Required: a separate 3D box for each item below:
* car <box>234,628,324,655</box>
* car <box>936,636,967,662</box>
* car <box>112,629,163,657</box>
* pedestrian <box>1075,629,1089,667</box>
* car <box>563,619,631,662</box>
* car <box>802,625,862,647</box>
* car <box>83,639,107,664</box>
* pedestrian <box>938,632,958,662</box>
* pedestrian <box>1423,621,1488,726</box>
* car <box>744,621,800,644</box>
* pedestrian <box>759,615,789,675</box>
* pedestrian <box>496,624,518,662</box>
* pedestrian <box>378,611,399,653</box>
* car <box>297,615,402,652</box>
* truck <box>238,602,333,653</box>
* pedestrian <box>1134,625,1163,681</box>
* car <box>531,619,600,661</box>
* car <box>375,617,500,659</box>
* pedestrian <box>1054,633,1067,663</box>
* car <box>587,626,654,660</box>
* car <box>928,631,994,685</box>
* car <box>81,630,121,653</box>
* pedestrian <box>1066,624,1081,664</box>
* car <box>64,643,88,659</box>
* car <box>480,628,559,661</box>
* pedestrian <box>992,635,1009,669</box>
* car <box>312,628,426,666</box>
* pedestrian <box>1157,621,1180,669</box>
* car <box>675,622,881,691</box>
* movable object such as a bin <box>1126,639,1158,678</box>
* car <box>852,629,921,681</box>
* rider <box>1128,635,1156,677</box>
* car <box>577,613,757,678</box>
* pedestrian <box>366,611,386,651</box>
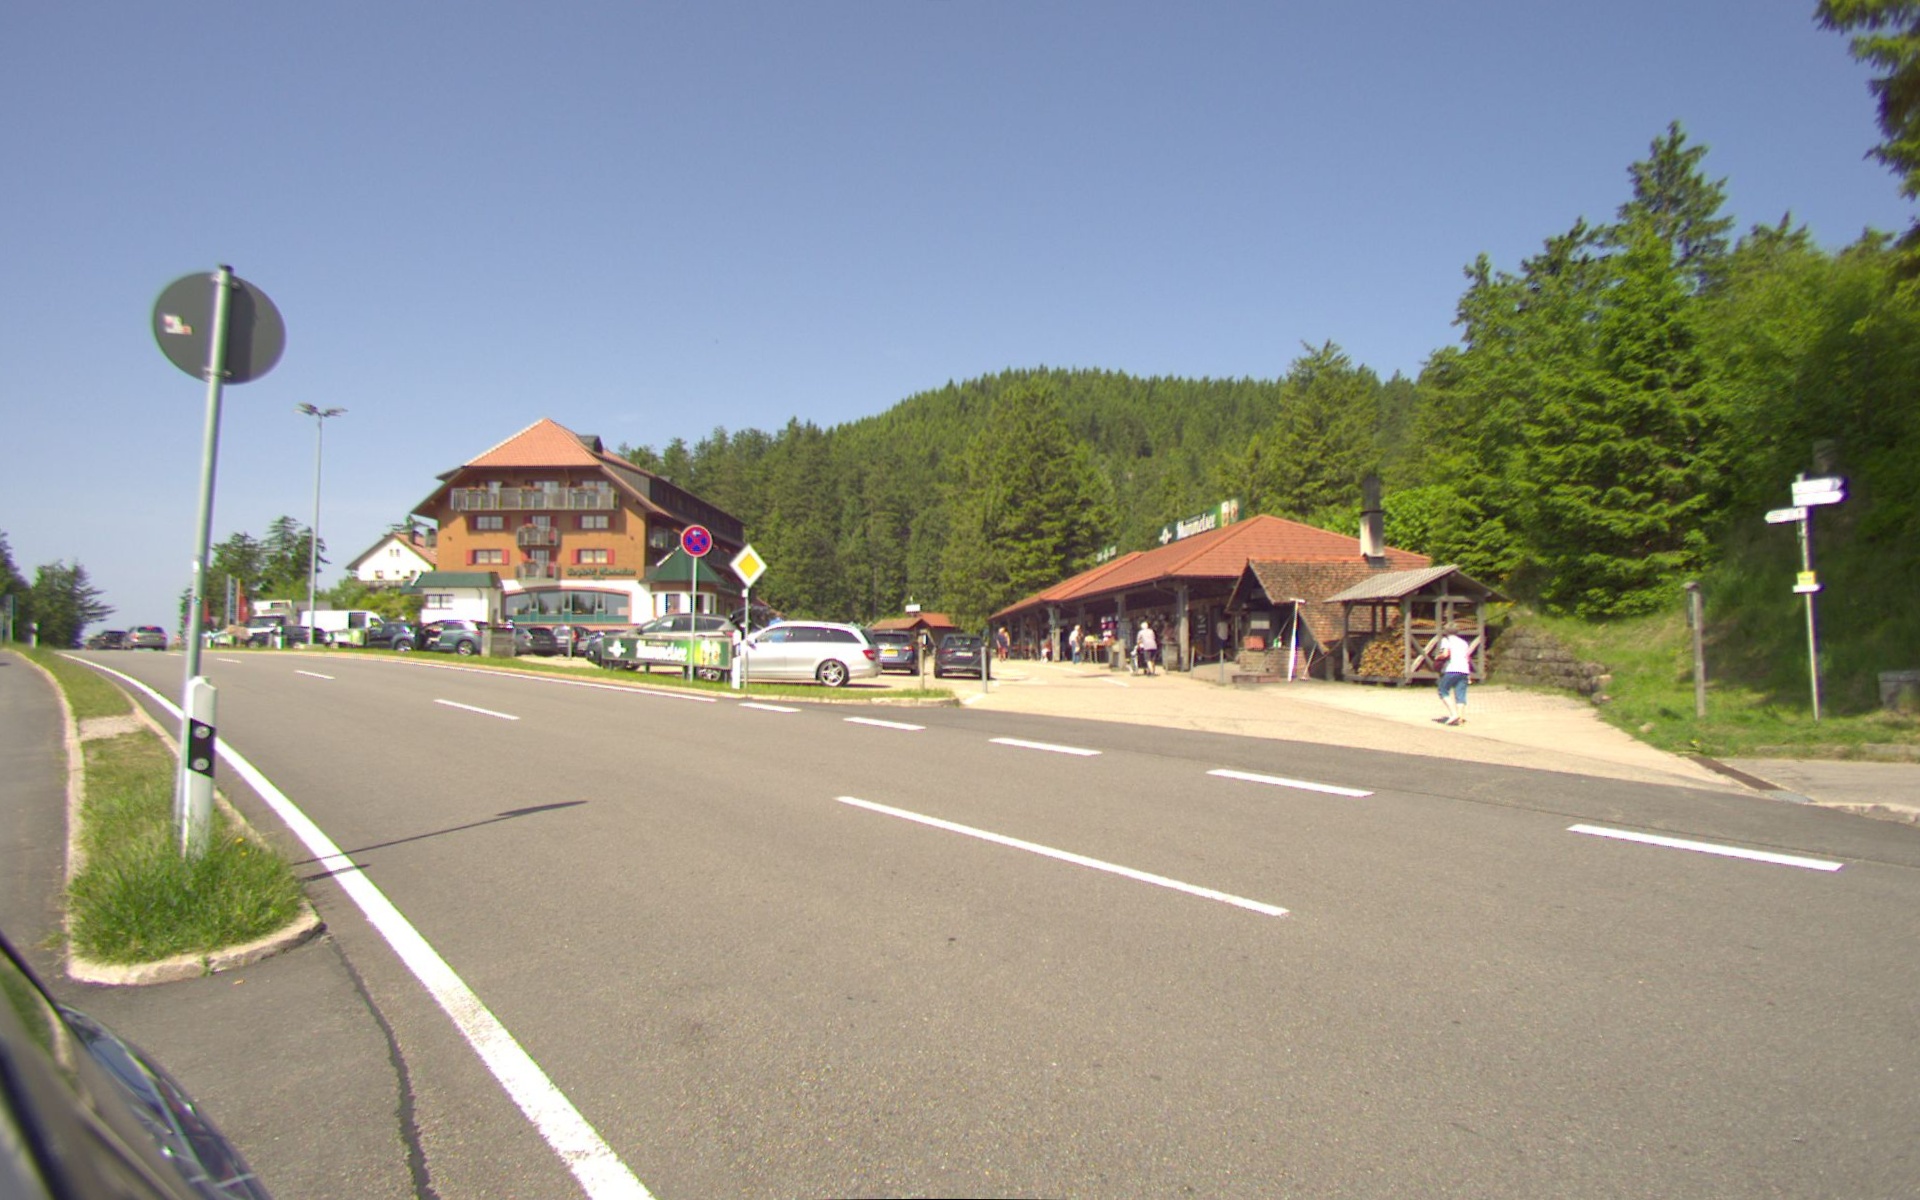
[{"bbox_3d":[-40.663,2.472,60.484,4.031,1.539,1.826,1,-2,-6],"label":"car"},{"bbox_3d":[-0.544,3.260,67.432,1.972,1.541,3.999,2,-1,1],"label":"car"},{"bbox_3d":[-48.535,2.494,59.663,1.858,1.485,4.717,0,-1,-45],"label":"car"},{"bbox_3d":[5.329,2.095,44.194,0.500,1.668,0.472,0,-1,-10],"label":"pedestrian"},{"bbox_3d":[-18.033,1.991,50.449,1.972,2.029,3.999,0,-1,0],"label":"car"},{"bbox_3d":[-10.640,2.978,84.128,4.777,1.729,1.920,1,-2,-1],"label":"car"},{"bbox_3d":[-102.158,6.039,119.508,1.986,2.772,5.925,2,-2,-42],"label":"car"},{"bbox_3d":[-0.695,2.732,58.900,0.917,1.668,0.882,1,-1,-25],"label":"pedestrian"},{"bbox_3d":[8.167,1.197,16.703,0.711,1.694,0.682,0,-2,-1],"label":"pedestrian"},{"bbox_3d":[-14.592,2.523,78.659,4.036,1.729,1.920,1,-2,-1],"label":"car"},{"bbox_3d":[-5.153,1.238,28.066,0.735,1.648,0.848,1,-2,-5],"label":"pedestrian"},{"bbox_3d":[-19.892,1.874,44.451,0.734,1.637,0.685,1,-2,-15],"label":"pedestrian"},{"bbox_3d":[-28.314,1.577,50.149,0.803,2.029,0.707,-1,-2,44],"label":"pedestrian"},{"bbox_3d":[-48.177,2.649,80.044,6.845,2.812,2.675,1,-2,-26],"label":"car"},{"bbox_3d":[-55.313,2.261,83.325,2.839,3.850,9.032,-1,-1,-8],"label":"truck"},{"bbox_3d":[5.835,1.621,31.331,0.830,1.712,0.801,0,-2,8],"label":"pedestrian"},{"bbox_3d":[-20.125,2.007,51.789,1.972,2.029,3.999,0,-1,0],"label":"car"},{"bbox_3d":[-21.588,1.572,41.934,4.209,1.641,1.825,1,-2,-2],"label":"car"},{"bbox_3d":[4.902,2.326,49.336,0.537,1.442,0.473,0,-1,-3],"label":"pedestrian"},{"bbox_3d":[-16.023,2.005,47.979,1.798,1.524,4.094,1,-2,0],"label":"car"},{"bbox_3d":[0.041,1.821,32.698,1.972,1.541,3.999,2,-1,1],"label":"car"},{"bbox_3d":[-65.362,3.115,76.987,1.970,1.660,4.570,2,-2,-45],"label":"car"},{"bbox_3d":[4.853,1.871,43.194,0.500,1.668,0.472,0,-1,-10],"label":"pedestrian"},{"bbox_3d":[-89.779,5.145,102.800,1.685,1.449,4.454,2,-2,-43],"label":"car"},{"bbox_3d":[-20.515,2.042,47.120,3.995,1.441,1.699,-1,-2,39],"label":"car"},{"bbox_3d":[2.027,2.611,50.766,0.772,1.668,0.881,0,-1,-6],"label":"pedestrian"},{"bbox_3d":[-27.441,2.182,47.098,4.209,1.641,1.825,1,-2,-2],"label":"car"},{"bbox_3d":[7.691,1.649,37.326,0.555,1.750,0.663,-1,-2,43],"label":"pedestrian"},{"bbox_3d":[-4.045,1.268,23.083,4.436,1.441,1.723,1,-2,-3],"label":"car"},{"bbox_3d":[5.815,1.868,32.388,0.972,1.198,1.214,0,-1,8],"label":"movable object such as a bin"},{"bbox_3d":[-2.415,1.800,34.165,1.972,1.541,3.999,2,-1,1],"label":"car"},{"bbox_3d":[5.803,1.782,32.367,0.830,1.284,0.907,0,-2,8],"label":"rider"},{"bbox_3d":[-7.981,1.236,27.893,4.484,1.668,1.723,1,-2,-3],"label":"car"},{"bbox_3d":[-30.062,1.580,52.110,0.803,2.029,0.707,-1,-2,44],"label":"pedestrian"}]
